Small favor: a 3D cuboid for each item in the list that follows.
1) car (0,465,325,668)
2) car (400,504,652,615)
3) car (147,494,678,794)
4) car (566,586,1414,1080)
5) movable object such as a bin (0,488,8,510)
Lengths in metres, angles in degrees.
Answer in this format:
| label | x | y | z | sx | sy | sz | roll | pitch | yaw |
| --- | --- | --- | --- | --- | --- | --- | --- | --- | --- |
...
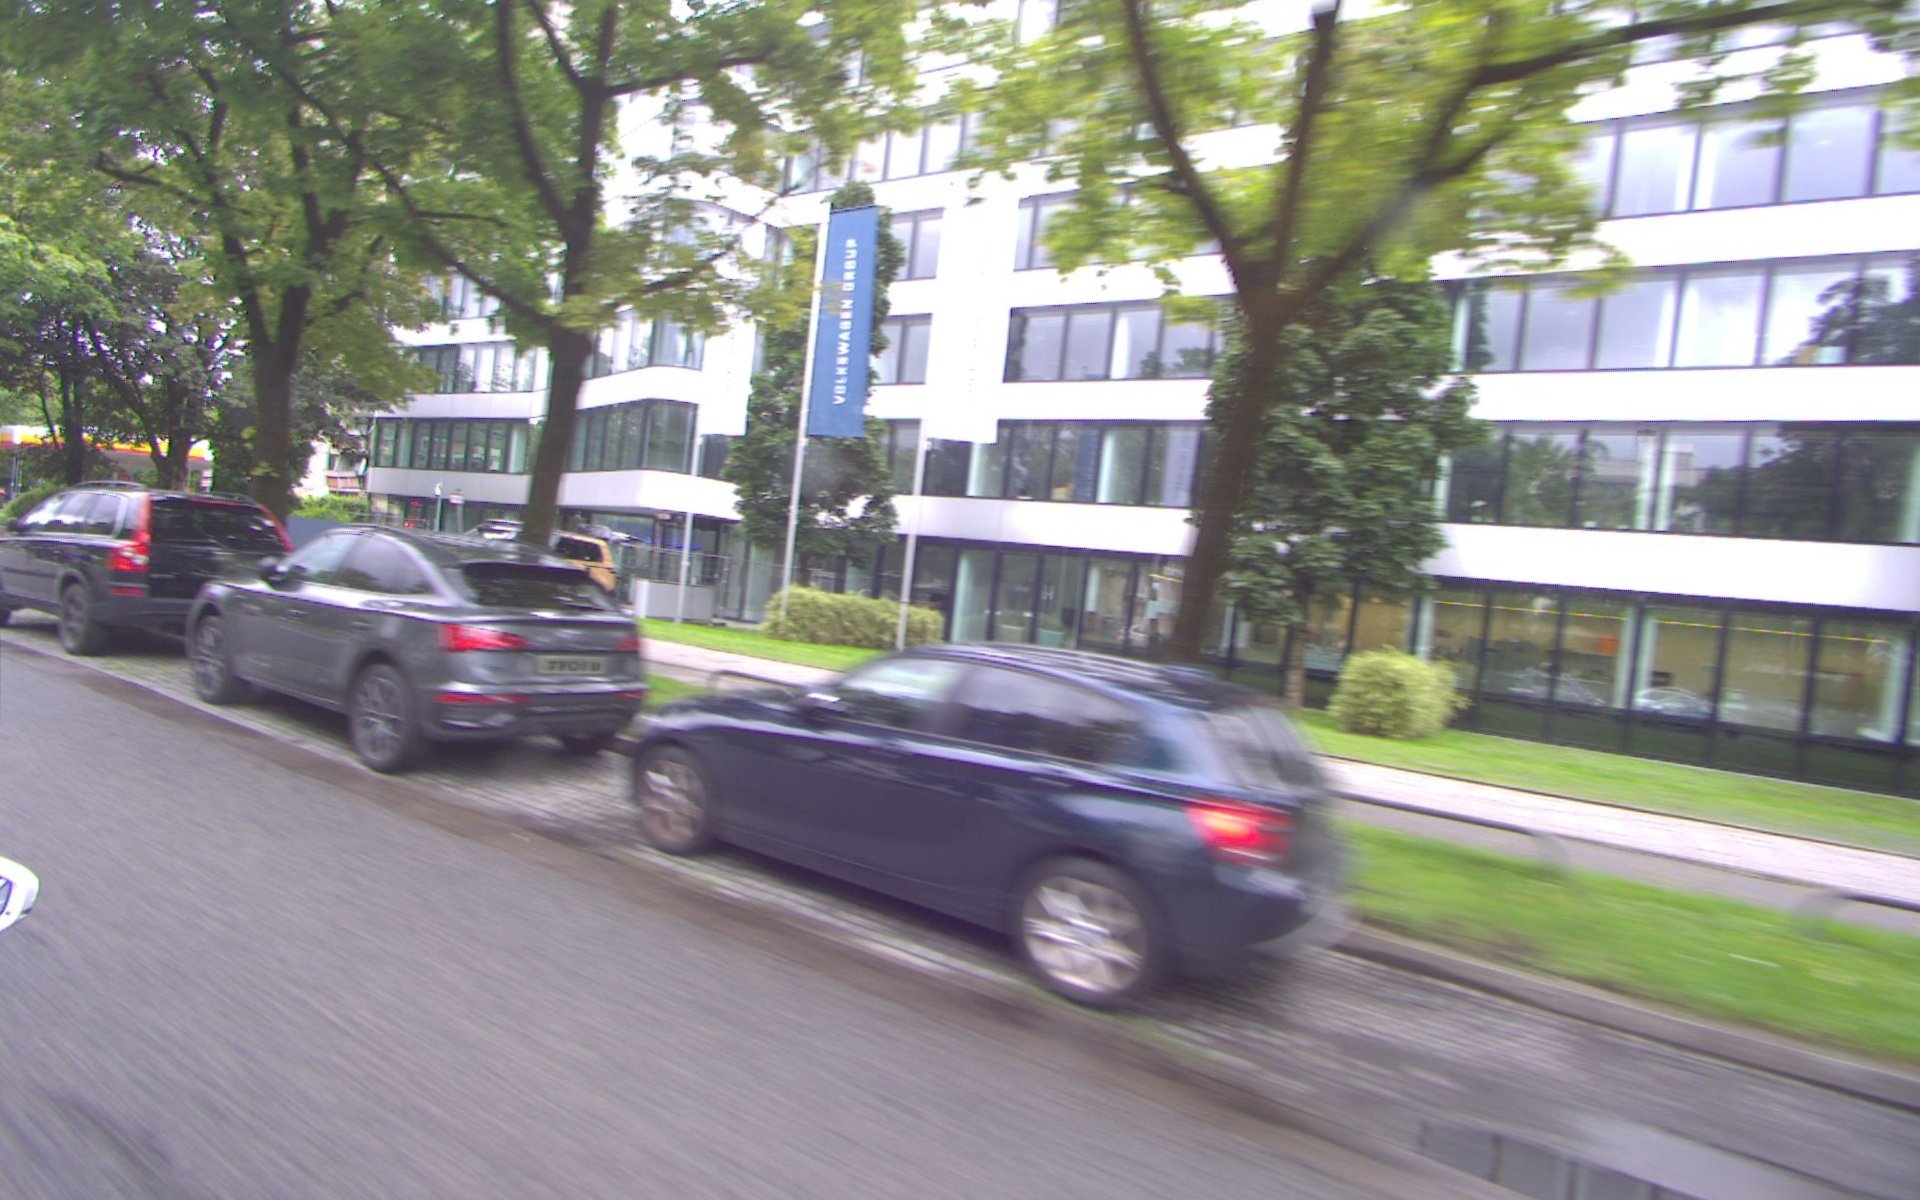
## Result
| label | x | y | z | sx | sy | sz | roll | pitch | yaw |
| --- | --- | --- | --- | --- | --- | --- | --- | --- | --- |
| car | -9.574 | -0.461 | 11.510 | 4.780 | 1.823 | 1.894 | 7 | 1 | 31 |
| car | -10.675 | -0.920 | 25.251 | 2.111 | 2.109 | 5.477 | 7 | 0 | 31 |
| car | -4.715 | 0.192 | 8.380 | 4.722 | 1.697 | 1.813 | 7 | 1 | 34 |
| car | -0.074 | 0.888 | 5.646 | 4.440 | 1.426 | 1.702 | 7 | 1 | 34 |
| movable object such as a bin | -69.059 | -7.285 | 71.101 | 1.807 | 1.505 | 2.063 | 7 | 0 | 32 |
